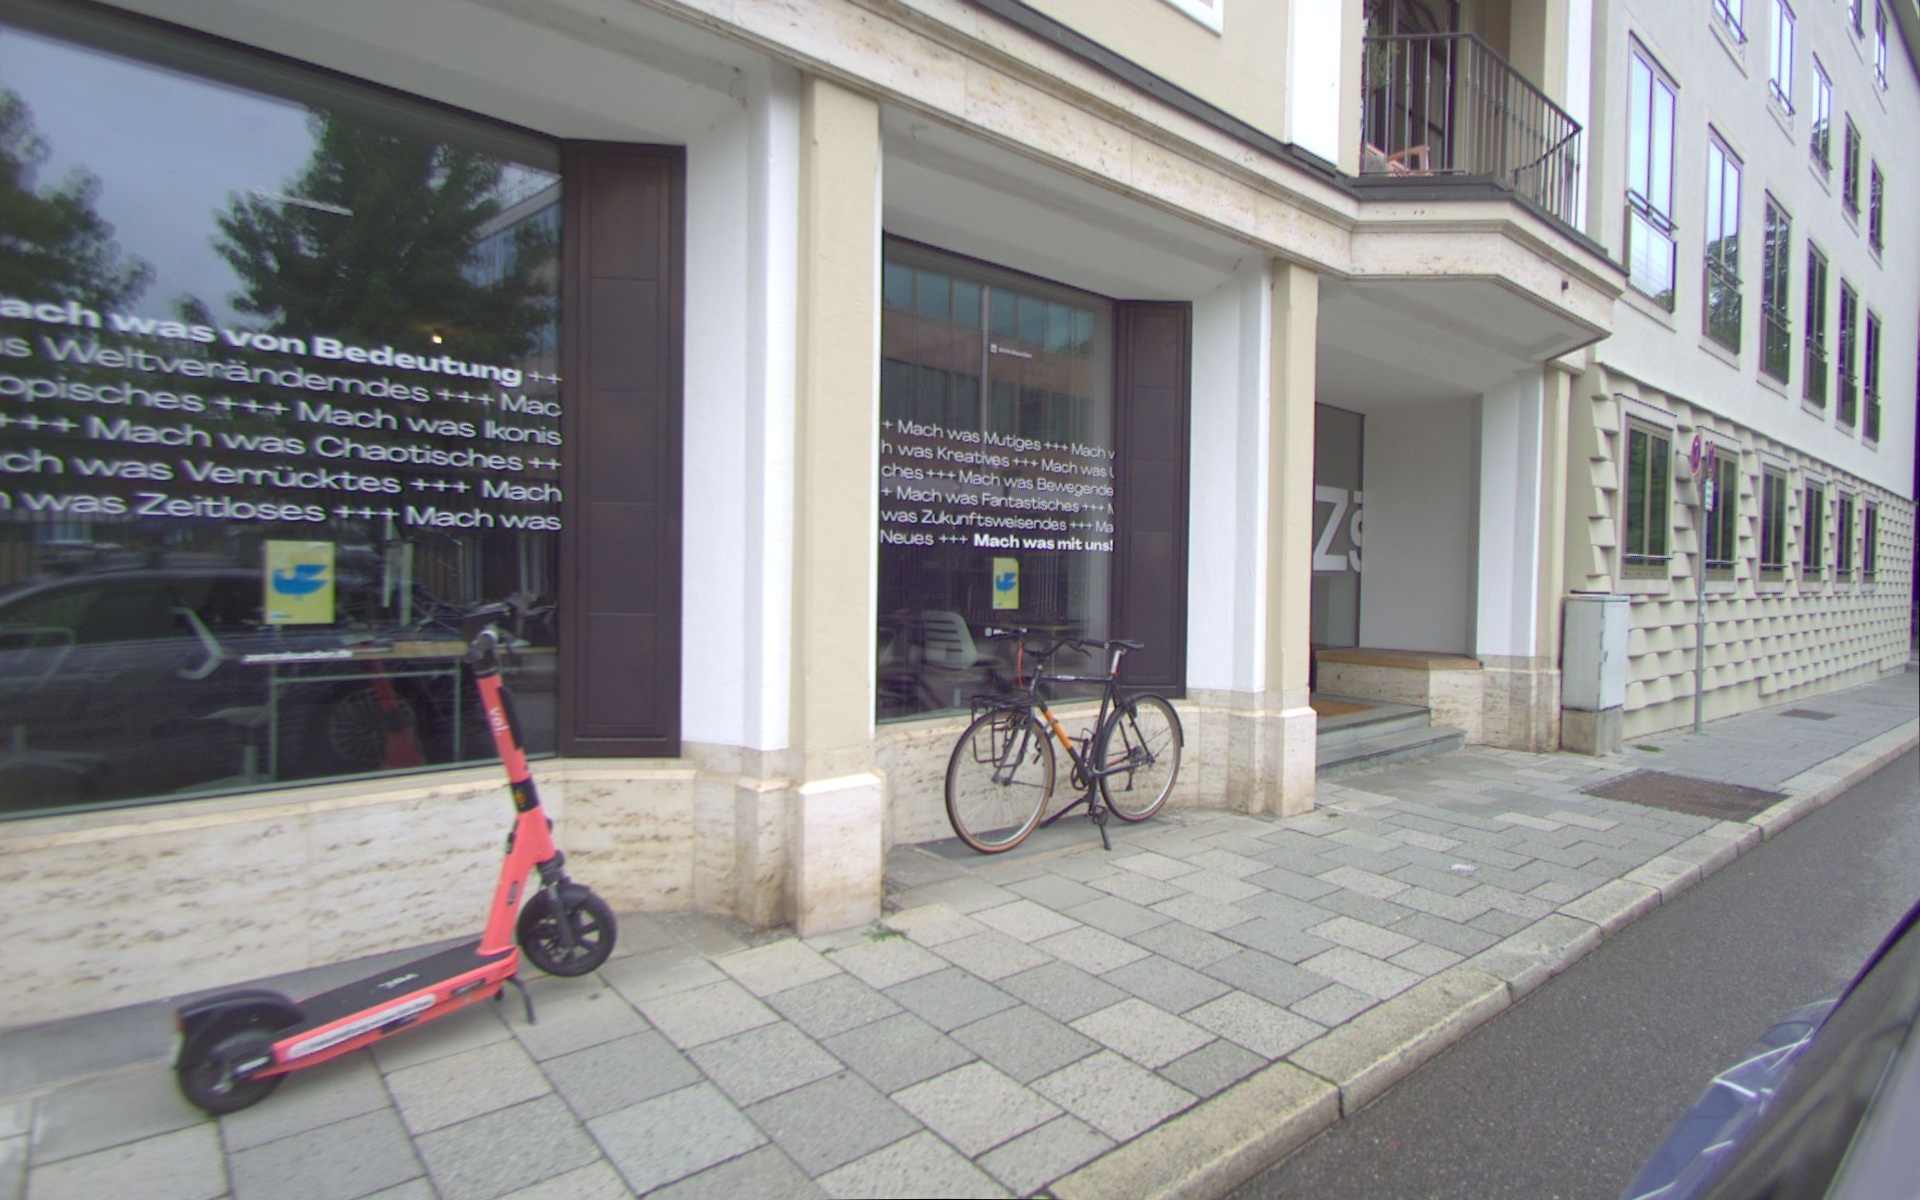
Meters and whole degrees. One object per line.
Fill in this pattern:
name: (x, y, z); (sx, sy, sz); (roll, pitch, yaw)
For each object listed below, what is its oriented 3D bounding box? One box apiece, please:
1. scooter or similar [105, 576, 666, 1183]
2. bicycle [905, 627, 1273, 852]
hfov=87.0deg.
scooter or similar: (-1.495, 0.589, 2.799); (0.464, 1.274, 1.260); (5, 4, 35)
bicycle: (0.741, 0.685, 5.389); (2.037, 1.006, 0.466); (2, 1, -30)
